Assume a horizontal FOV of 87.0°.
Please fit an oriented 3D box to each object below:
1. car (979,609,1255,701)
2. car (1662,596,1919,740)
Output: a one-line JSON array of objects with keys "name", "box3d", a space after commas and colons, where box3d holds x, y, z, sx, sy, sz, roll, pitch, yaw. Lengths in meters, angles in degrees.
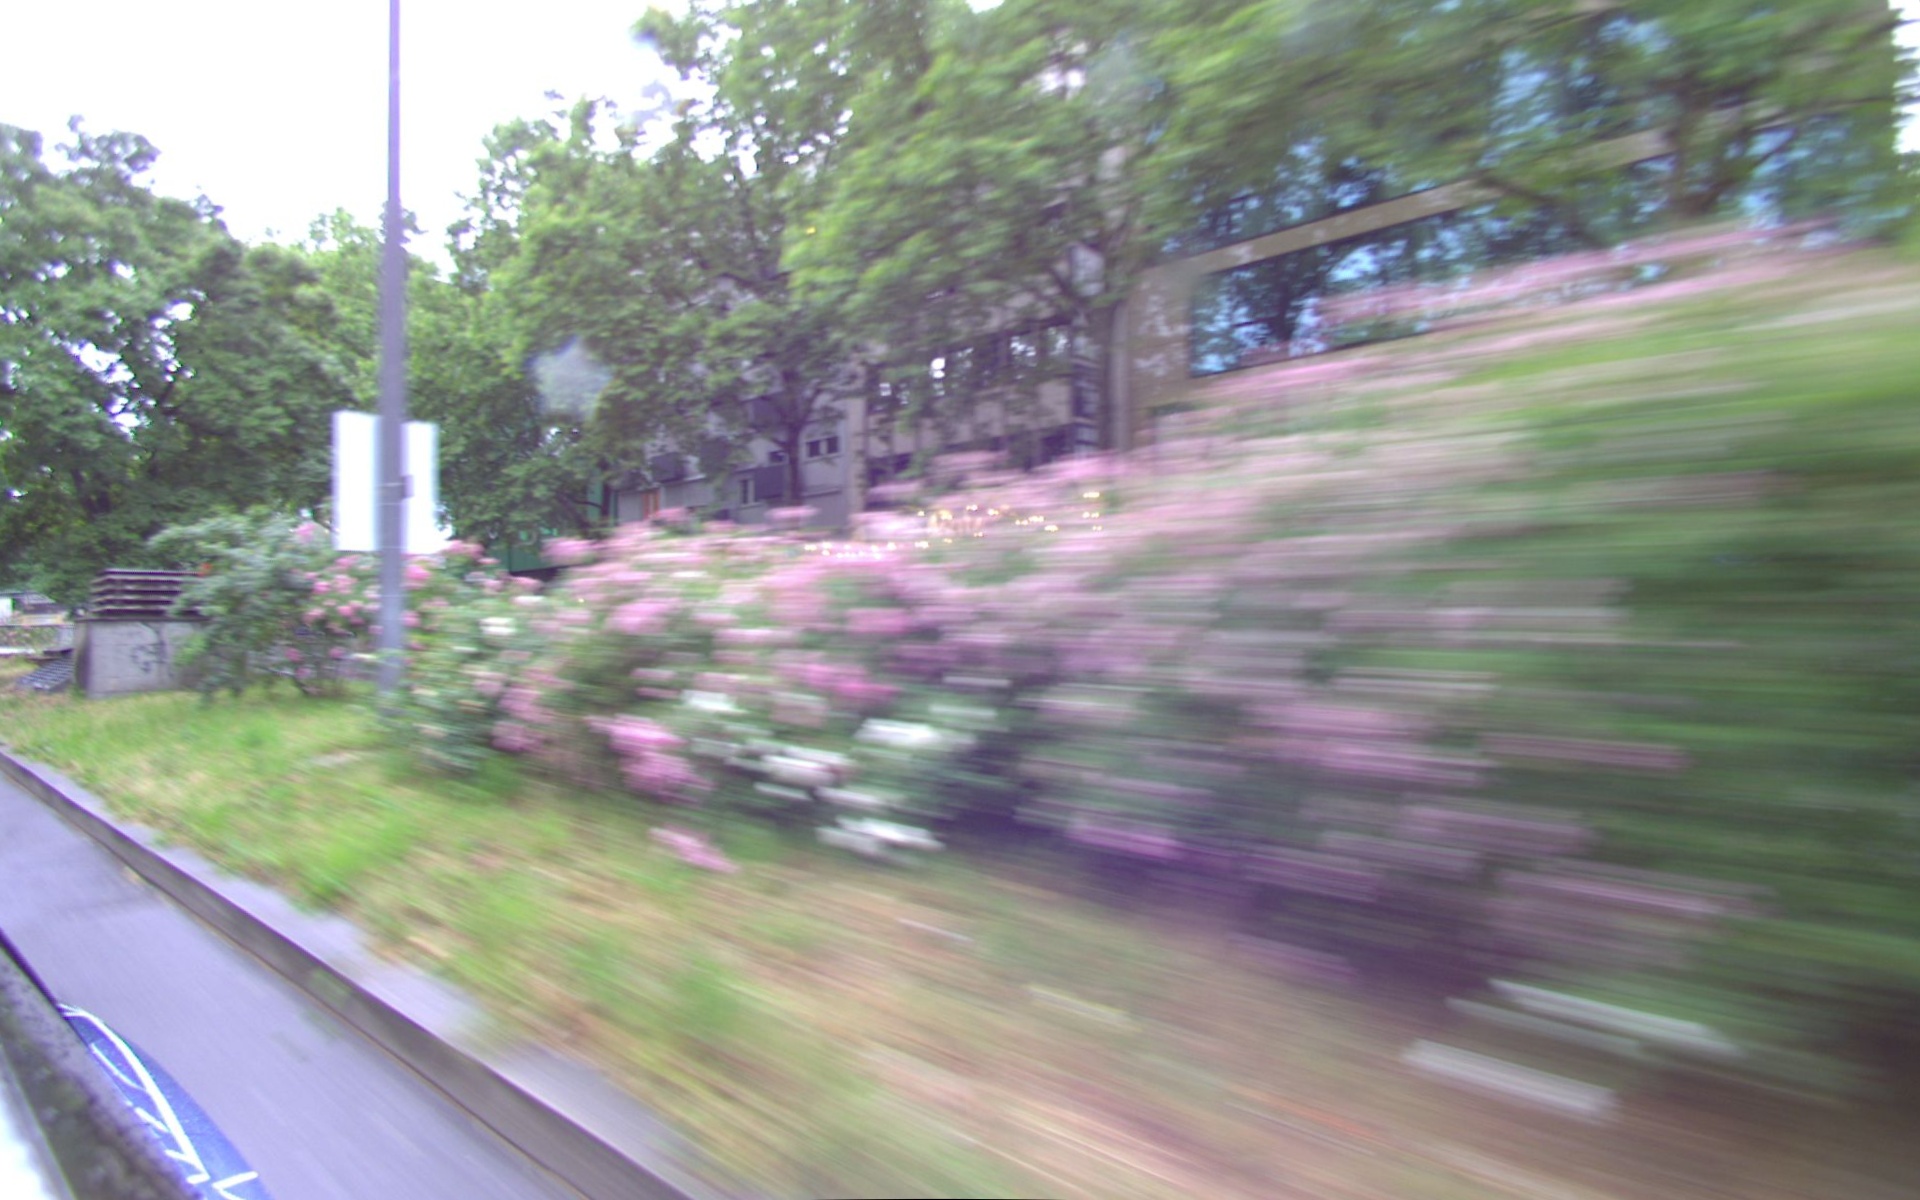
[{"name": "car", "box3d": [2.715, 0.928, 18.200, 4.537, 1.380, 1.973, -2, 0, 41]}, {"name": "car", "box3d": [10.749, 0.734, 11.409, 4.513, 1.521, 1.974, -2, -2, 39]}]
